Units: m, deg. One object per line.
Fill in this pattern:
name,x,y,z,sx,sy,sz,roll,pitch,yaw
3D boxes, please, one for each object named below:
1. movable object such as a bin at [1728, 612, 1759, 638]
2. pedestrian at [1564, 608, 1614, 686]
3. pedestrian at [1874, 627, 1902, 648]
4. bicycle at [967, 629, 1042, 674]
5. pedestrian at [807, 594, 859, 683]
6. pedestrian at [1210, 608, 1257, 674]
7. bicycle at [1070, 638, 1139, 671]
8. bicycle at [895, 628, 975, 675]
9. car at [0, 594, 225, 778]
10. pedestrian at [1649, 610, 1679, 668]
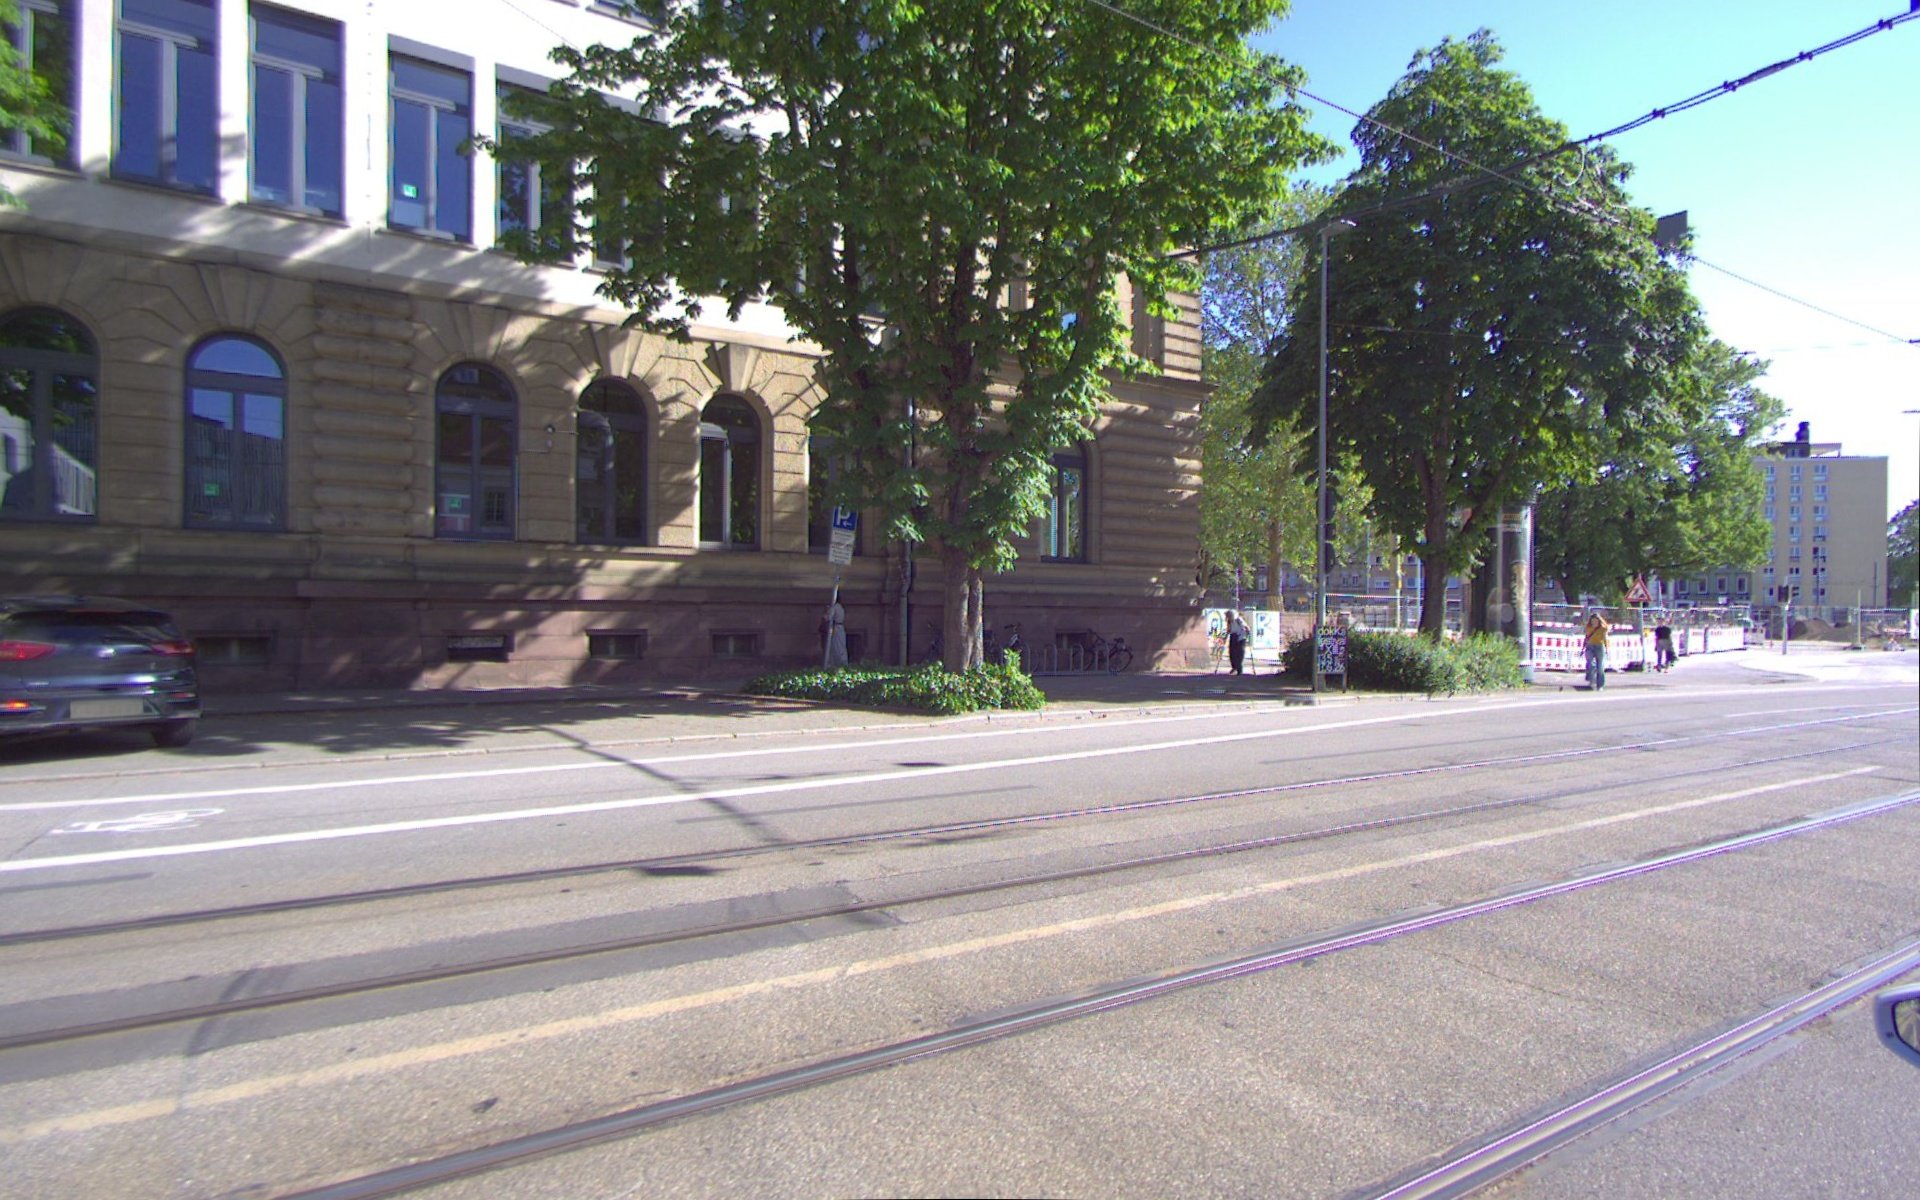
movable object such as a bin,65.404,2.070,83.903,1.893,2.040,3.986,0,-1,36
pedestrian,14.124,1.047,22.547,0.810,1.719,0.633,1,-2,-31
pedestrian,46.690,1.873,50.562,0.648,1.060,0.893,1,-1,-30
bicycle,0.956,1.084,21.468,1.601,0.929,0.478,1,-1,-30
pedestrian,-2.453,0.724,19.389,0.751,1.657,0.697,1,2,-31
pedestrian,6.407,0.944,23.522,0.908,1.524,0.704,0,0,33
bicycle,3.316,1.240,22.999,1.601,0.734,0.478,1,-1,-30
bicycle,-0.501,1.042,20.539,1.601,0.929,0.478,1,-1,-30
car,-9.677,0.747,10.508,3.930,1.570,1.873,1,0,32
pedestrian,21.098,1.157,30.095,0.674,1.719,0.612,1,0,-44
